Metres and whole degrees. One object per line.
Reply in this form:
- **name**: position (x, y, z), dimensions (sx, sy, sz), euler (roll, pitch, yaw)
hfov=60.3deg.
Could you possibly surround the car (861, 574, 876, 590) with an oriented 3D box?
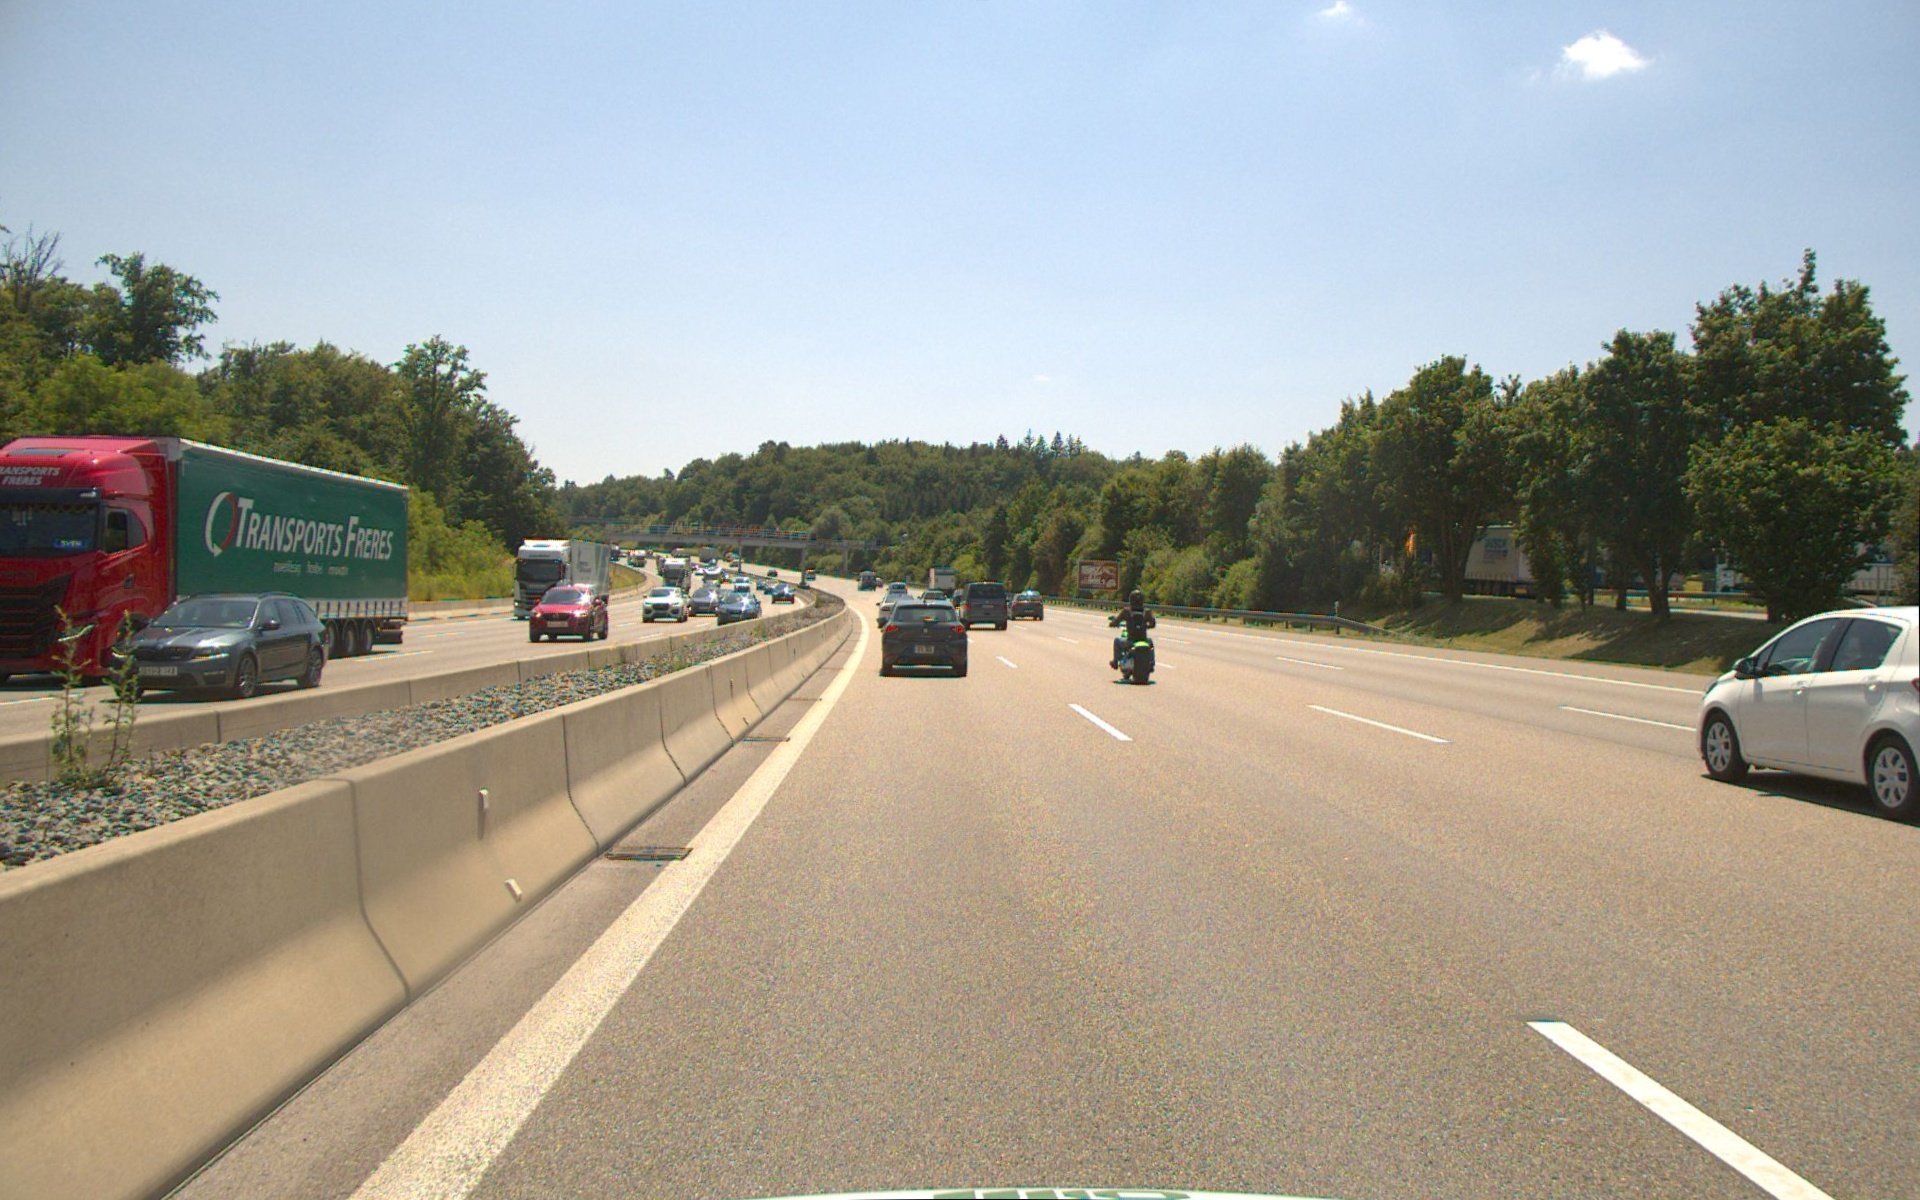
- **car**: position (-12.620, -2.487, 227.845), dimensions (1.955, 2.048, 4.670), euler (3, 1, -5)

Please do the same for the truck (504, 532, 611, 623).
- **truck**: position (-21.511, -1.106, 89.540), dimensions (2.842, 4.427, 16.542), euler (1, 0, -4)

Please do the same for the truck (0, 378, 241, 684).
- **truck**: position (-14.496, -1.055, 27.301), dimensions (2.450, 4.427, 6.603), euler (1, 1, -2)

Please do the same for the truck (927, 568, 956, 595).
- **truck**: position (-2.088, -2.082, 183.741), dimensions (2.674, 2.834, 5.677), euler (3, 0, -5)

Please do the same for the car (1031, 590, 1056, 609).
- **car**: position (5.869, -0.029, 116.586), dimensions (1.575, 1.234, 3.460), euler (1, -2, 1)

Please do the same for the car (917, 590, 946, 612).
- **car**: position (-1.921, 0.052, 110.471), dimensions (1.805, 1.243, 4.223), euler (3, 1, -2)

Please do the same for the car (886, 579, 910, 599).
- **car**: position (-5.949, -1.074, 159.368), dimensions (1.955, 1.713, 4.418), euler (3, 1, -6)

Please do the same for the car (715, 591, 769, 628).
- **car**: position (-9.617, 0.399, 73.246), dimensions (1.953, 1.575, 4.879), euler (0, 0, -2)

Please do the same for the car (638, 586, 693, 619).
- **car**: position (-14.249, 0.113, 80.161), dimensions (1.953, 1.575, 4.879), euler (0, 0, -2)

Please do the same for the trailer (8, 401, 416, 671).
- **trailer**: position (-14.769, -1.139, 34.636), dimensions (2.450, 4.427, 14.297), euler (1, 1, -2)

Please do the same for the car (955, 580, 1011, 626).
- **car**: position (0.963, 0.117, 71.266), dimensions (2.056, 1.884, 4.078), euler (1, 0, -4)

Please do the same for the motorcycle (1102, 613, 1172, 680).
- **motorcycle**: position (3.221, 0.836, 30.309), dimensions (0.957, 1.149, 2.270), euler (1, 0, -2)

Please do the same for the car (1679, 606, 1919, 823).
- **car**: position (7.373, 0.800, 12.939), dimensions (1.632, 1.458, 4.376), euler (1, 0, 1)

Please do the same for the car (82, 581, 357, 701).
- **car**: position (-10.825, 0.548, 24.636), dimensions (1.953, 1.575, 4.880), euler (1, 0, -1)

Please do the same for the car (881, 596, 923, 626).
- **car**: position (-2.542, 0.471, 72.168), dimensions (1.747, 1.287, 3.457), euler (-1, 0, -4)

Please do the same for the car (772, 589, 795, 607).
- **car**: position (-15.484, -0.184, 145.022), dimensions (1.949, 1.575, 4.874), euler (0, 0, -6)

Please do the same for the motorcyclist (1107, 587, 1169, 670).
- **motorcyclist**: position (3.228, 0.510, 30.146), dimensions (0.942, 1.463, 1.234), euler (1, 0, -2)

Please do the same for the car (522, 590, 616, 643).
- **car**: position (-12.121, 0.479, 51.614), dimensions (1.953, 1.575, 4.879), euler (0, 0, -2)

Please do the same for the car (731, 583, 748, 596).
- **car**: position (-26.043, -1.224, 195.317), dimensions (1.956, 1.377, 3.831), euler (3, 1, -7)

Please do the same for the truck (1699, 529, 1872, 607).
- **truck**: position (41.047, -1.527, 82.767), dimensions (3.259, 3.627, 10.551), euler (1, 0, -1)

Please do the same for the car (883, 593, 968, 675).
- **car**: position (-0.672, 0.624, 32.894), dimensions (1.591, 1.513, 3.684), euler (1, 0, -1)

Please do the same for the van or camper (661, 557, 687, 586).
- **van or camper**: position (-30.788, -3.076, 178.229), dimensions (2.271, 2.819, 7.153), euler (3, 2, -8)

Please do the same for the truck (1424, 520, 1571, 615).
- **truck**: position (30.048, -1.725, 93.399), dimensions (3.259, 4.914, 14.695), euler (1, 0, -1)

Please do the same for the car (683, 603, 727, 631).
- **car**: position (-14.738, 0.975, 95.794), dimensions (1.984, 1.575, 4.879), euler (0, 0, -2)

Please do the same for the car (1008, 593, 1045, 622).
- **car**: position (3.606, 0.408, 90.379), dimensions (1.642, 1.456, 3.682), euler (3, 0, -3)

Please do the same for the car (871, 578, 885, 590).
- **car**: position (-12.363, -2.406, 250.926), dimensions (1.953, 1.601, 3.999), euler (3, 1, -2)
